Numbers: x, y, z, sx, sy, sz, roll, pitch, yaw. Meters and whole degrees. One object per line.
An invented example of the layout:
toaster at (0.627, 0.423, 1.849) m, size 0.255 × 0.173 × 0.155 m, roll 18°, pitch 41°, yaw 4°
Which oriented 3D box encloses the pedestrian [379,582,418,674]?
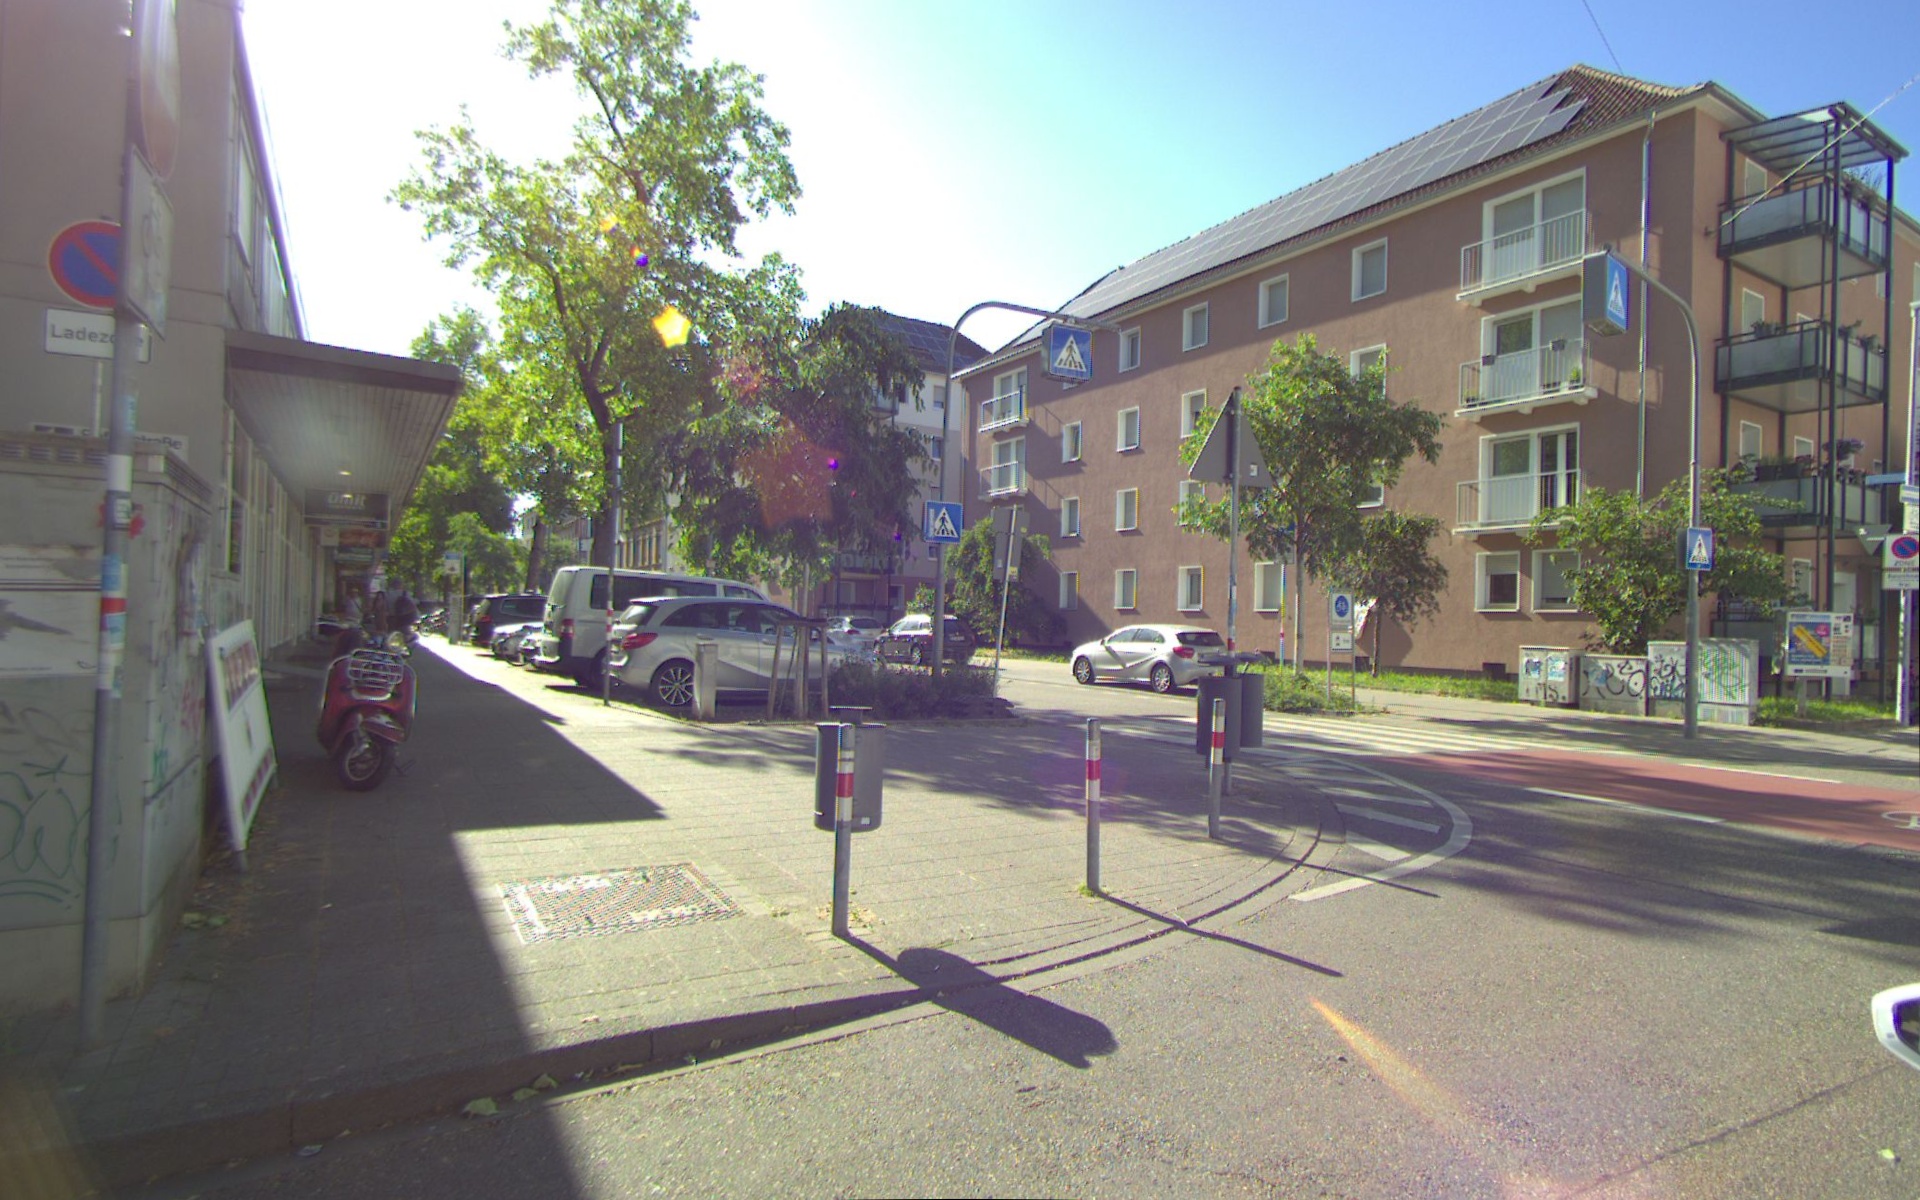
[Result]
pedestrian at (-10.662, 0.526, 19.084) m, size 0.560 × 1.688 × 0.707 m, roll 4°, pitch -2°, yaw -29°

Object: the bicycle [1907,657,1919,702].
bicycle at (23.611, 1.956, 24.377) m, size 0.248 × 1.085 × 1.217 m, roll 1°, pitch -1°, yaw 8°

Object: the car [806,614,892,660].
car at (-4.118, 1.332, 36.727) m, size 1.725 × 1.539 × 3.827 m, roll 2°, pitch -1°, yaw -30°

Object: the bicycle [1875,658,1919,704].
bicycle at (22.948, 1.958, 24.496) m, size 0.285 × 1.049 × 1.217 m, roll 1°, pitch -1°, yaw 8°

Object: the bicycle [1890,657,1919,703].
bicycle at (23.261, 1.942, 24.444) m, size 0.261 × 1.086 × 1.217 m, roll 1°, pitch -1°, yaw 8°

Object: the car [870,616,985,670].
car at (-1.095, 1.300, 31.361) m, size 1.768 × 1.539 × 4.274 m, roll 2°, pitch -1°, yaw -30°

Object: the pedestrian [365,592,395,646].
pedestrian at (-17.039, 0.556, 29.527) m, size 0.681 × 1.541 × 0.528 m, roll 4°, pitch -2°, yaw -30°

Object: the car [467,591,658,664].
car at (-10.894, 0.789, 27.655) m, size 4.591 × 1.828 × 1.821 m, roll 3°, pitch -2°, yaw -33°

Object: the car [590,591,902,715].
car at (-3.160, 0.784, 15.144) m, size 4.257 × 1.634 × 1.743 m, roll 2°, pitch -1°, yaw -33°

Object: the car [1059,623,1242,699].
car at (4.158, 1.305, 22.579) m, size 1.726 × 1.473 × 4.120 m, roll 2°, pitch -1°, yaw -31°

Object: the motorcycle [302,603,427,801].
motorcycle at (-4.325, 0.657, 7.326) m, size 0.662 × 1.196 × 1.906 m, roll 2°, pitch 0°, yaw -30°

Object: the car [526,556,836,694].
car at (-4.708, 0.499, 17.215) m, size 4.696 × 2.032 × 1.942 m, roll 4°, pitch -2°, yaw -33°

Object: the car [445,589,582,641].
car at (-19.082, 0.683, 43.043) m, size 5.173 × 2.007 × 1.647 m, roll 3°, pitch -2°, yaw -33°
